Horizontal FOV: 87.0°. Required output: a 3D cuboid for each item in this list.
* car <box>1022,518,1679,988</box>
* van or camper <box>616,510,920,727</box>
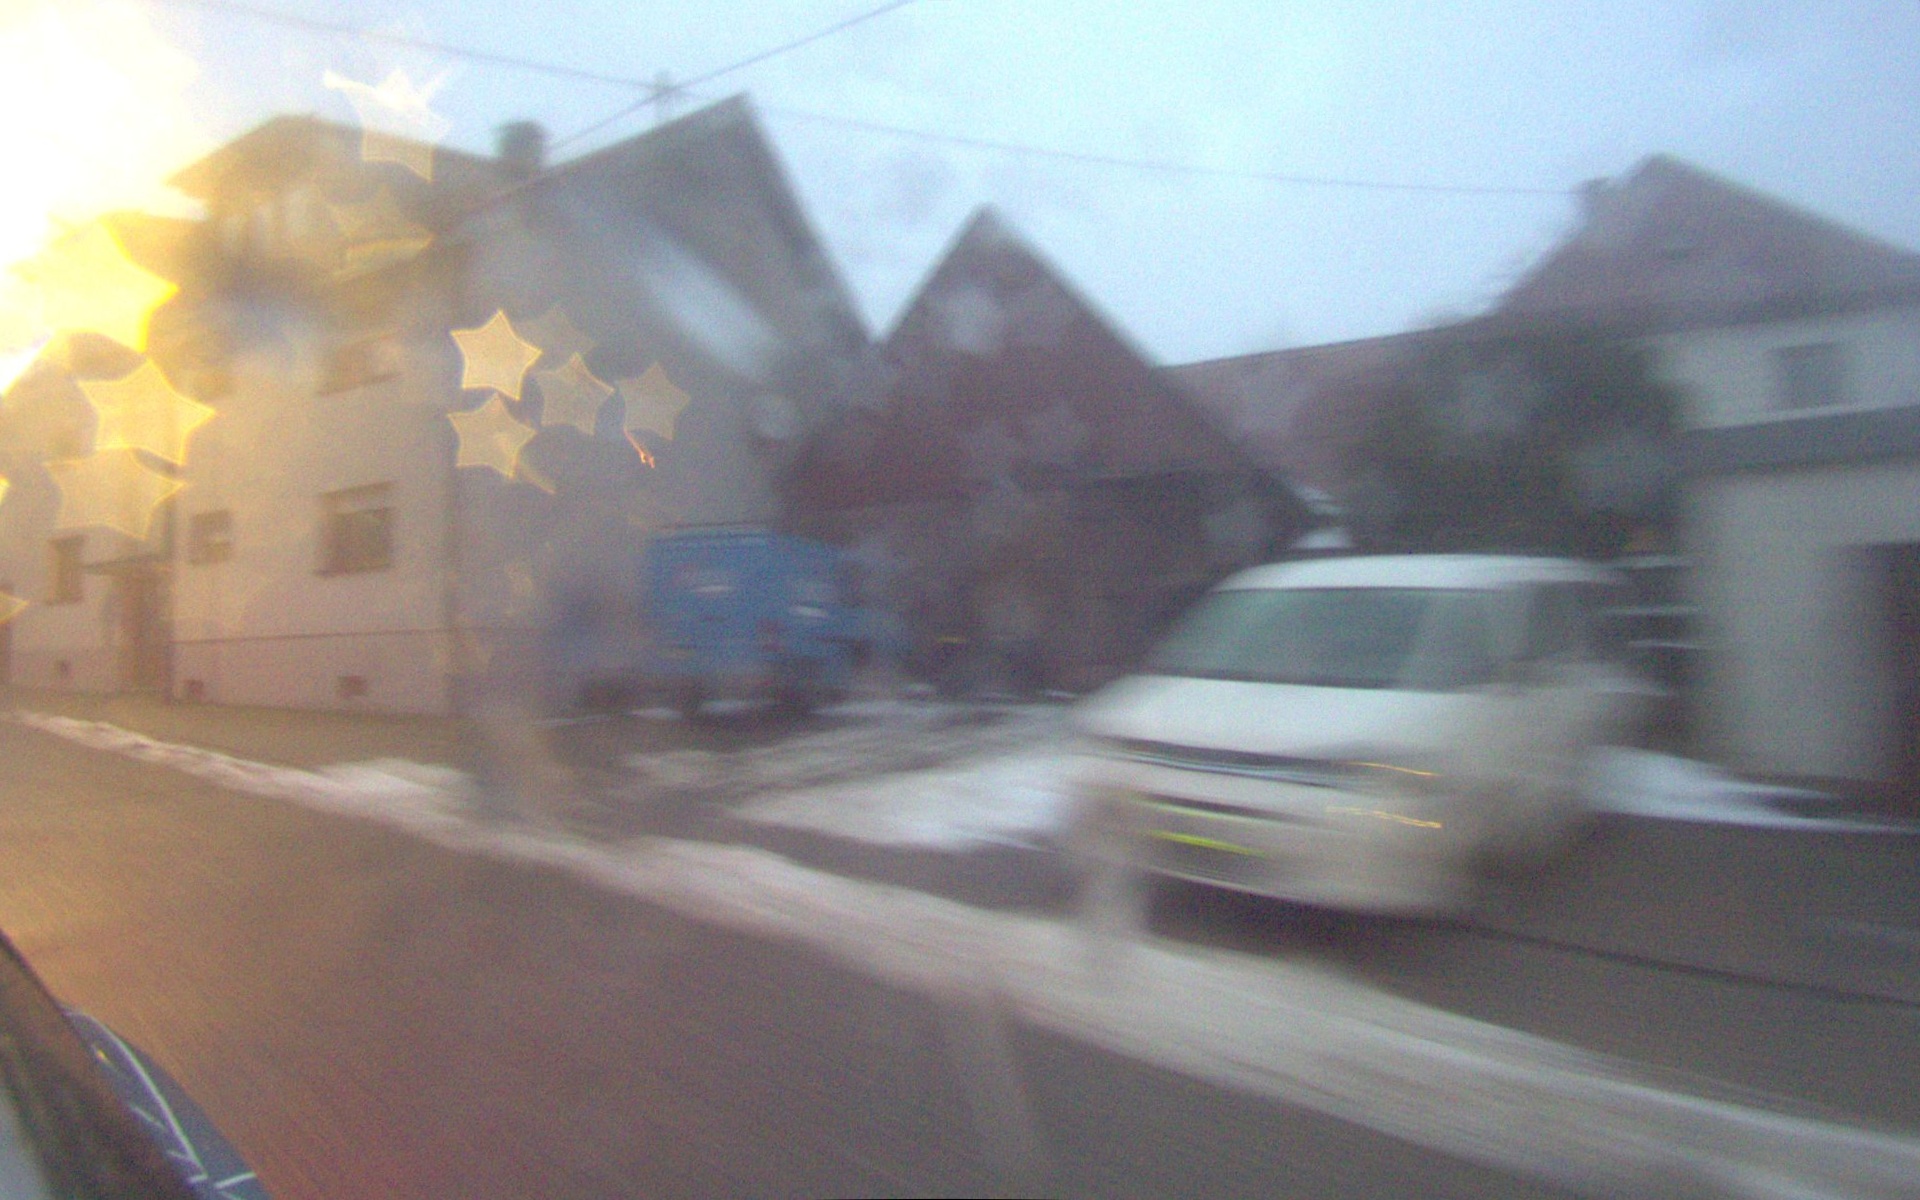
[{"bbox_3d":[2.634,0.626,5.997,1.891,1.679,4.737,-2,-3,45],"label":"car"},{"bbox_3d":[-2.387,0.310,14.389,2.126,2.467,5.277,-1,-2,16],"label":"van or camper"}]
